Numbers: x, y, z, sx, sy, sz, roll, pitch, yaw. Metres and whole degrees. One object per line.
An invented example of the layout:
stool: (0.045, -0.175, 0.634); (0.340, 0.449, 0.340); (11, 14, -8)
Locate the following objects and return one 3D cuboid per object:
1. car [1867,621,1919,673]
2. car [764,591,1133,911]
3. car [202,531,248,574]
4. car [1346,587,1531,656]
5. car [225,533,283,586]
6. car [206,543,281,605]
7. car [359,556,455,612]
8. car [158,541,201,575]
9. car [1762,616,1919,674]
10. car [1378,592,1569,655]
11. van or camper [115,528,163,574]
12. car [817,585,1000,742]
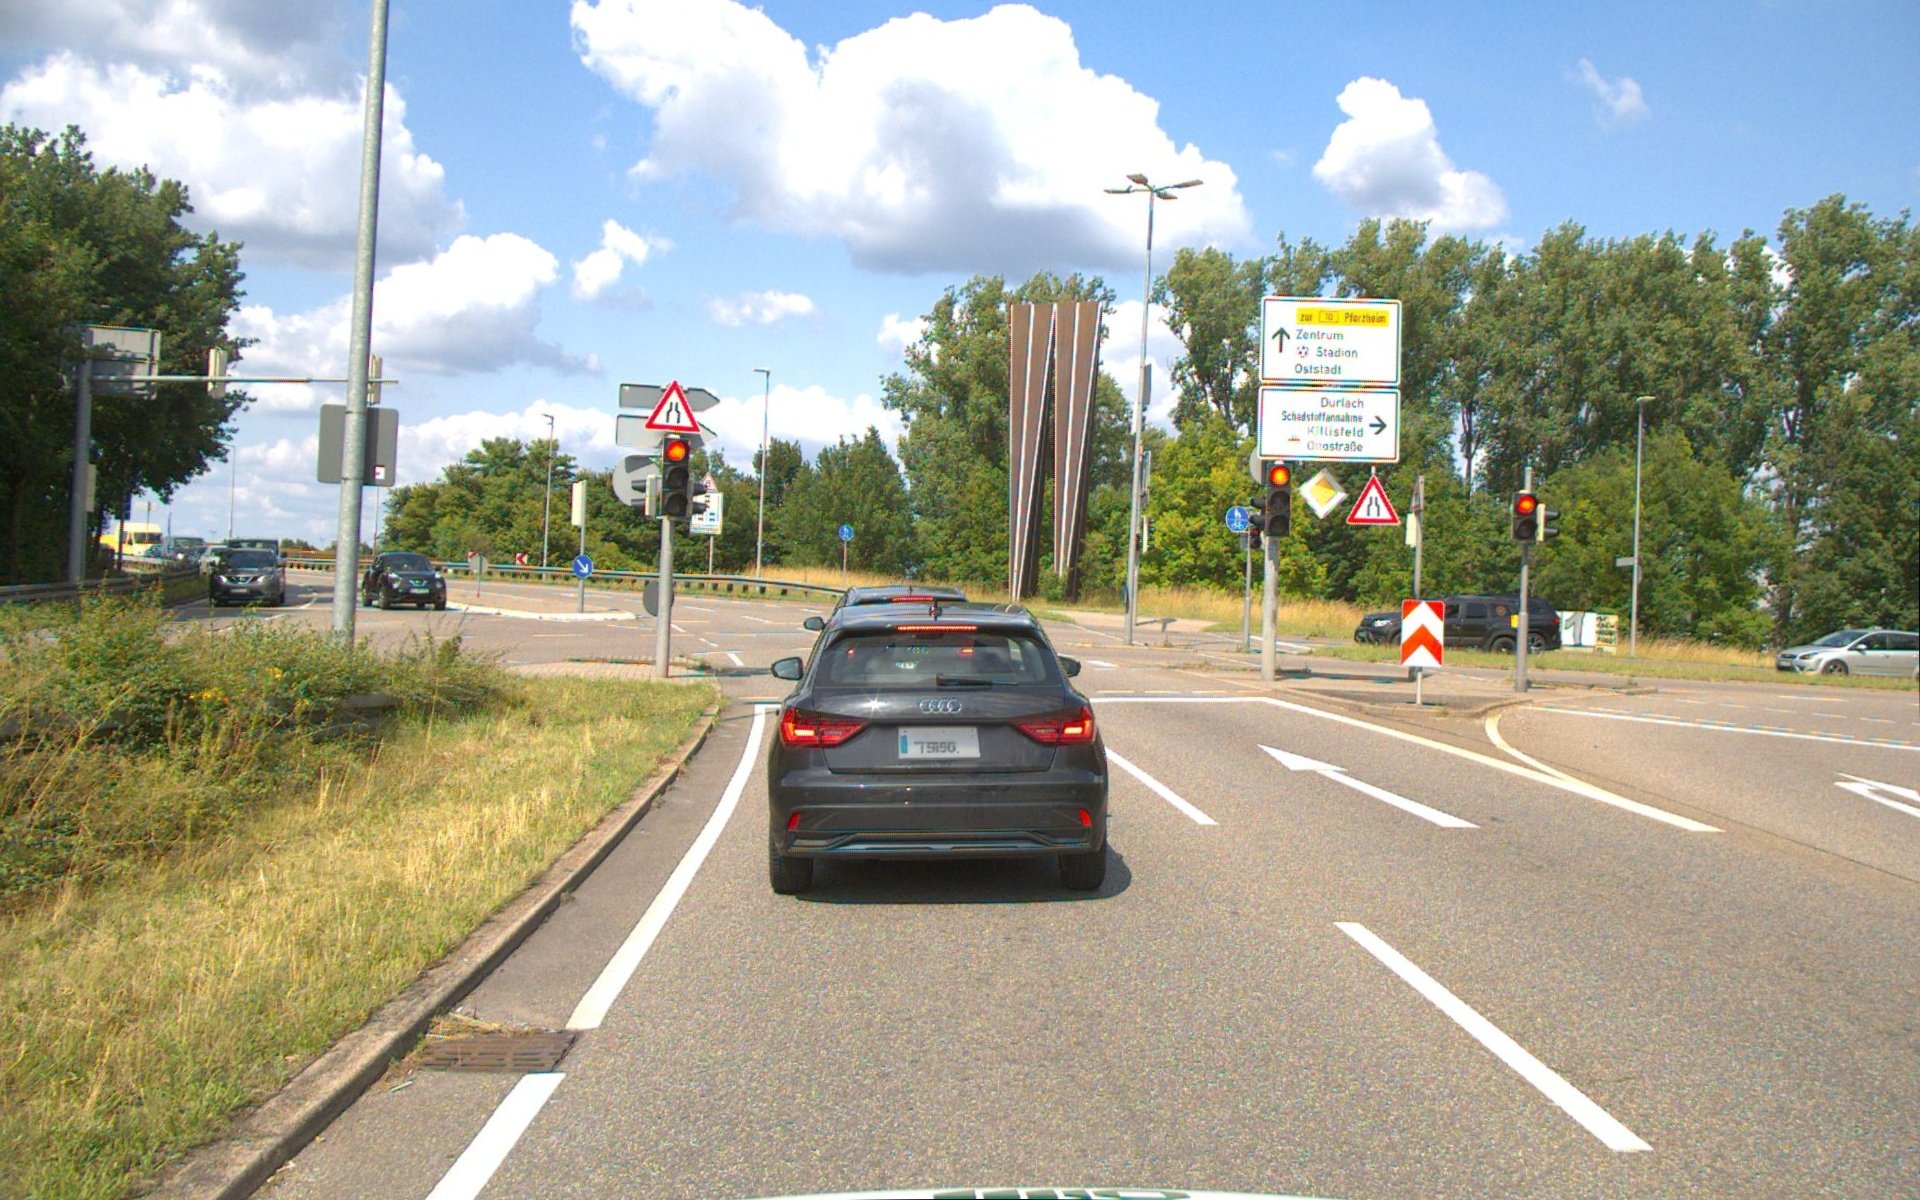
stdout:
car: (30.750, 1.511, 51.413); (4.025, 1.522, 1.999); (2, 0, -4)
car: (-0.098, 0.683, 9.597); (1.691, 1.429, 3.999); (0, 1, -1)
car: (-36.309, -2.334, 81.670); (1.822, 2.013, 4.288); (2, 1, -27)
car: (12.176, 0.535, 42.257); (4.183, 1.572, 1.736); (2, 0, -3)
car: (-25.975, -1.494, 60.920); (1.817, 1.833, 4.298); (2, 1, -22)
car: (-20.364, -0.705, 47.134); (1.813, 1.646, 3.973); (1, -1, -22)
car: (-15.789, -0.478, 47.120); (1.925, 1.443, 3.933); (2, 1, -28)
car: (-42.892, -2.318, 90.898); (1.823, 1.735, 4.285); (2, 1, -29)
car: (23.467, 1.184, 43.031); (4.385, 1.343, 1.735); (2, 0, -5)
car: (14.303, 0.633, 46.198); (4.750, 1.572, 1.736); (2, 0, -3)
van or camper: (-51.371, -3.050, 103.416); (1.975, 2.730, 6.787); (1, 1, -32)
car: (-0.642, 0.572, 17.395); (1.693, 1.448, 3.840); (0, 1, -5)
